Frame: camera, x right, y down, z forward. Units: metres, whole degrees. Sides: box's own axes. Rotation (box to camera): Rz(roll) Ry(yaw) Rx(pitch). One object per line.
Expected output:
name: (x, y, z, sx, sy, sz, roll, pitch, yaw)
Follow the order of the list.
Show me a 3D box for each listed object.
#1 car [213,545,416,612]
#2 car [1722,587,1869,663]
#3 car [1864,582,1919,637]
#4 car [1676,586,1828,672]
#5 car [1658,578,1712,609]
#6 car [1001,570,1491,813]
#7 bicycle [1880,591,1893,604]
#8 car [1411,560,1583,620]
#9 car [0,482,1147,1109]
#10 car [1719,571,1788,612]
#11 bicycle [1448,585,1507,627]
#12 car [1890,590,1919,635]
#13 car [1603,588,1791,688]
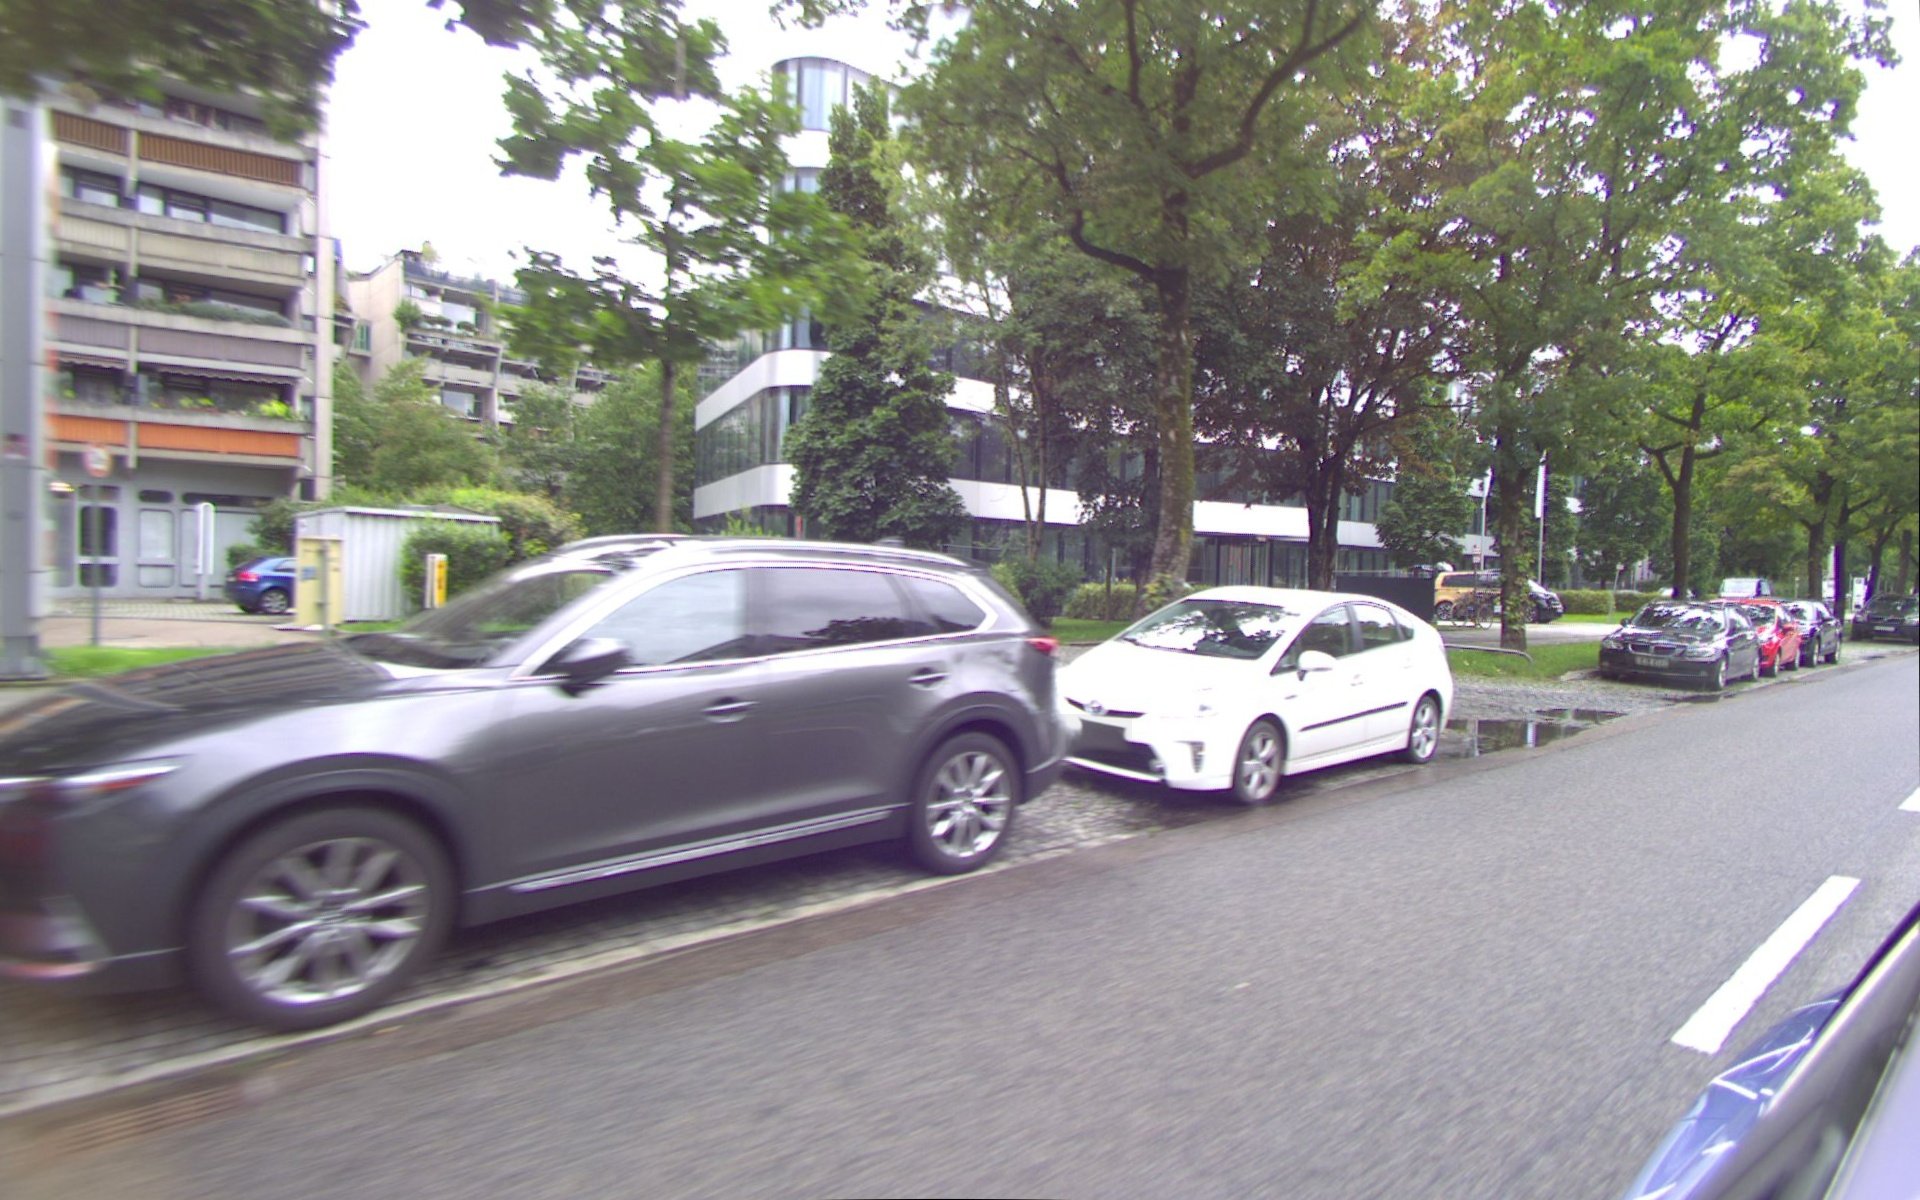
car: (-15.973, -0.538, 25.161, 1.885, 1.539, 3.937, 3, 2, 43)
car: (19.618, 0.529, 23.713, 4.207, 1.529, 1.784, 0, 4, -39)
car: (33.886, 0.328, 36.032, 4.777, 1.822, 1.896, 0, 2, -41)
car: (16.330, 0.532, 20.813, 3.951, 1.519, 1.679, 0, 4, -41)
car: (45.727, -0.417, 63.807, 4.396, 1.840, 1.845, 0, 3, -43)
car: (2.625, 0.567, 8.610, 4.552, 1.471, 1.764, 0, 4, -41)
bicycle: (88.948, -0.266, 97.163, 1.827, 1.242, 0.532, 1, 2, -37)
car: (20.705, -0.452, 39.223, 2.109, 2.109, 5.480, 0, 2, -41)
car: (-1.438, 0.480, 4.951, 5.139, 1.719, 1.764, 0, 4, -41)
car: (48.334, -0.519, 61.596, 6.162, 2.335, 2.268, 0, 3, -43)
bicycle: (15.273, 0.162, 29.856, 2.207, 1.197, 0.750, 0, 2, -41)
car: (38.339, 0.495, 39.847, 4.713, 1.696, 1.818, 0, 2, -39)
car: (13.109, 0.586, 17.890, 4.502, 1.471, 1.679, 0, 4, -41)
